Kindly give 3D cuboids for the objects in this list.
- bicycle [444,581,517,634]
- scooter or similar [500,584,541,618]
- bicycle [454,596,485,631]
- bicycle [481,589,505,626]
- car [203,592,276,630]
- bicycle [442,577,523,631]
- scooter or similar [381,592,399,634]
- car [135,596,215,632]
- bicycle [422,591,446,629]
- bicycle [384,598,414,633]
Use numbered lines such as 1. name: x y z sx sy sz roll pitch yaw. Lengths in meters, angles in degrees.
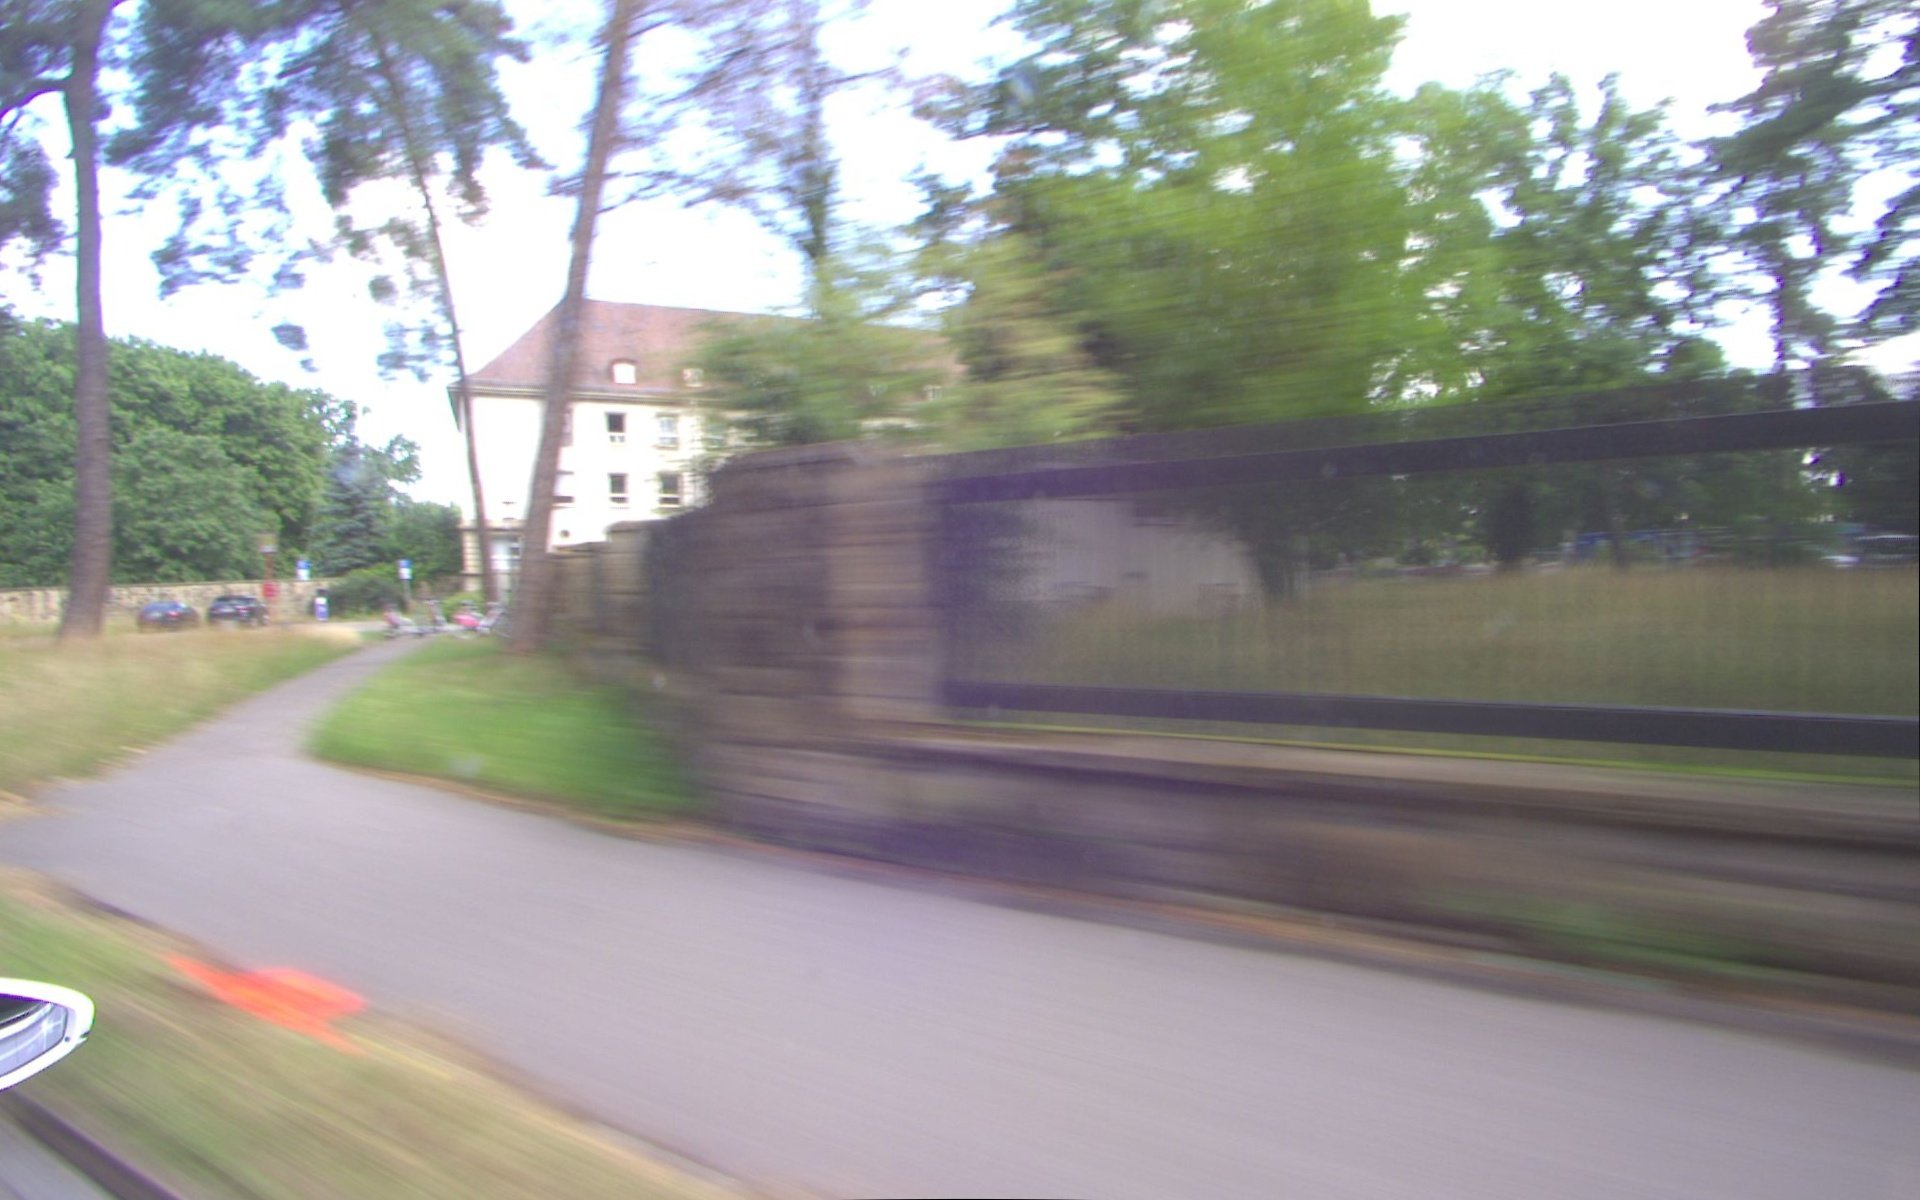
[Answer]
1. bicycle: -14.081 0.197 29.438 1.777 1.437 0.583 -5 3 -41
2. scooter or similar: -15.593 0.029 35.549 0.433 1.166 1.243 0 3 37
3. bicycle: -17.161 0.456 35.067 0.611 1.178 1.608 -1 0 -14
4. bicycle: -17.395 0.280 37.312 0.663 1.294 1.732 -3 1 -28
5. car: -34.505 0.498 48.059 1.868 1.568 3.985 -3 3 -22
6. bicycle: -13.772 0.097 28.906 1.960 1.437 0.573 -4 3 -41
7. scooter or similar: -17.132 0.398 30.097 0.432 1.244 1.085 -1 0 -30
8. car: -37.199 0.628 47.537 1.848 1.462 3.985 -3 3 -22
9. bicycle: -18.002 0.340 34.279 0.626 1.257 2.164 -3 1 -29
10. bicycle: -18.278 0.492 32.654 0.729 1.099 1.676 -1 1 -26
